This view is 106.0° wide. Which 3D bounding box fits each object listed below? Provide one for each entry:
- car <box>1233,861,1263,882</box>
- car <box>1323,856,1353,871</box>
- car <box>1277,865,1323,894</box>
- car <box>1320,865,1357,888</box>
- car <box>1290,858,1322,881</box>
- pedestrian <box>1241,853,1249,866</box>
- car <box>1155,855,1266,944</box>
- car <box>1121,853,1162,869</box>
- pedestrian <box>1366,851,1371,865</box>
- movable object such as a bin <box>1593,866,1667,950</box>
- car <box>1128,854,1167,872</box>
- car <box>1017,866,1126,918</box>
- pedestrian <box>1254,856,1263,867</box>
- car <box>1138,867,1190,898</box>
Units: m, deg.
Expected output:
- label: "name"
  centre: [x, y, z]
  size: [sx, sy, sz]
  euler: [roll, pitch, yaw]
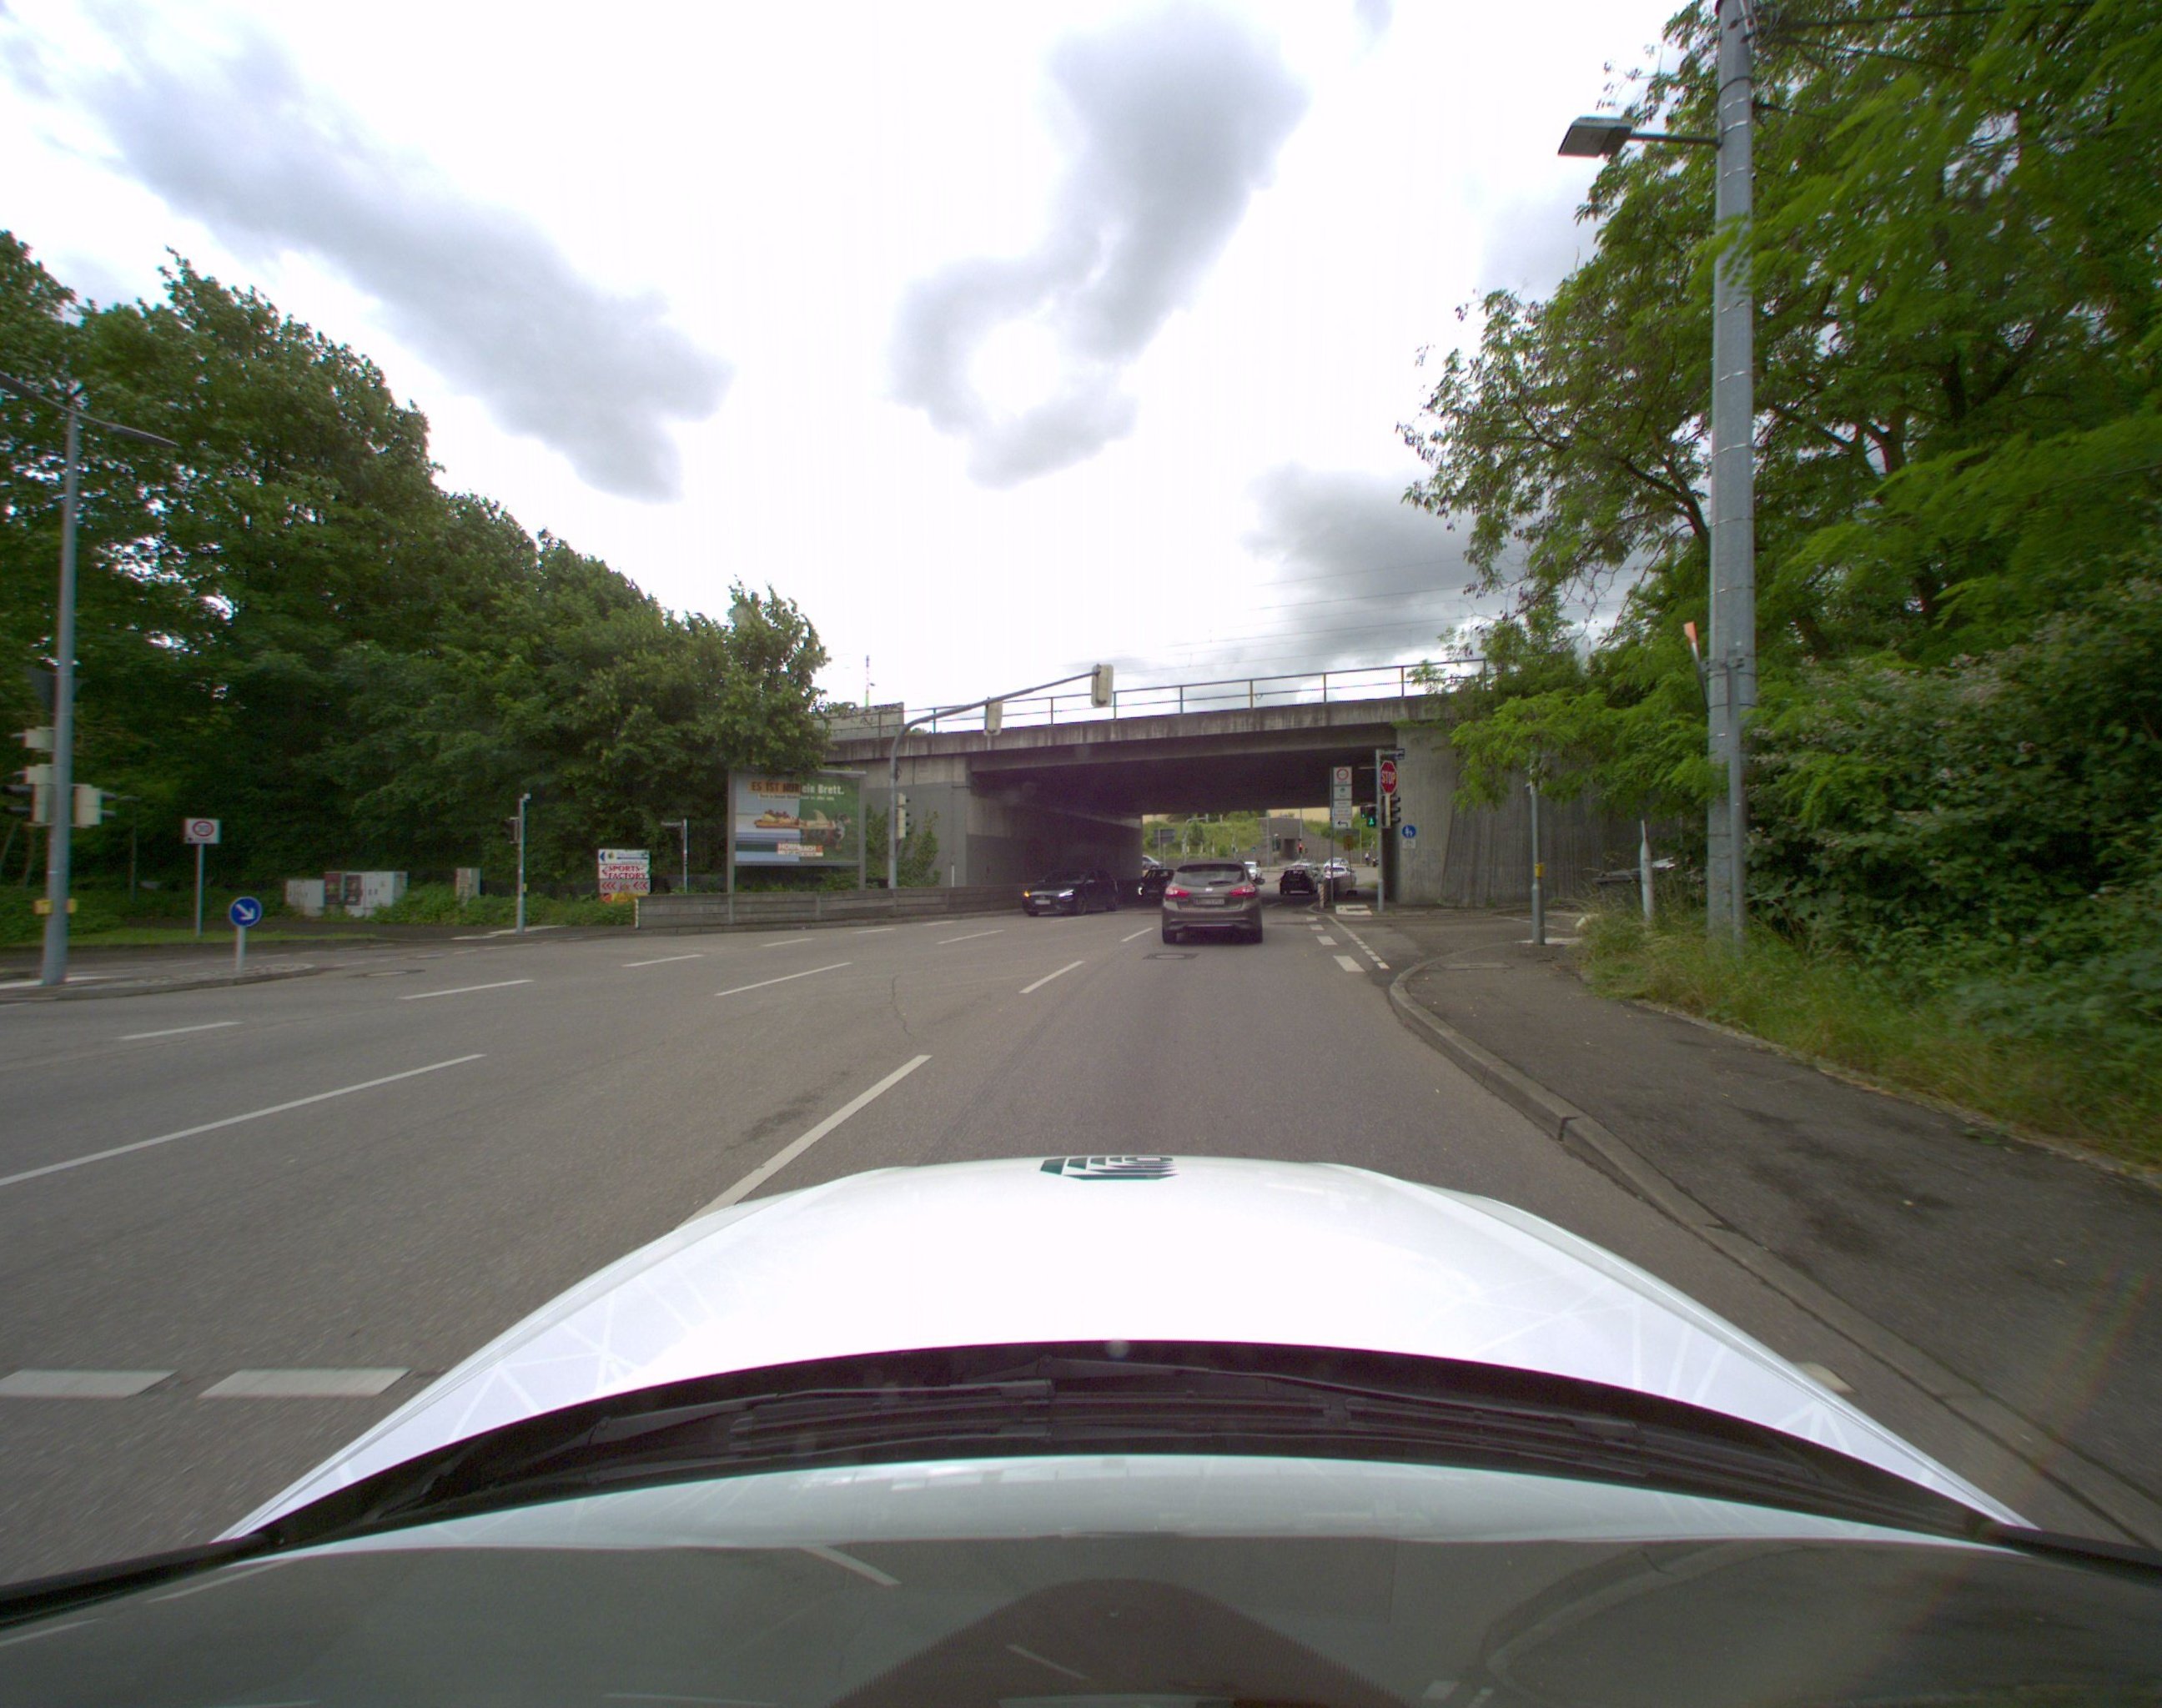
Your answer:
- label: "car"
  centre: [13.449, 1.412, 65.397]
  size: [1.768, 1.660, 4.128]
  euler: [-1, -1, 20]
- label: "car"
  centre: [29.229, 1.078, 92.740]
  size: [1.974, 1.640, 4.025]
  euler: [-1, -1, 38]
- label: "car"
  centre: [12.107, 1.364, 44.858]
  size: [1.883, 1.466, 4.021]
  euler: [0, -1, 23]
- label: "car"
  centre: [19.198, 1.650, 60.546]
  size: [1.975, 1.618, 4.024]
  euler: [-1, -1, 27]
- label: "car"
  centre: [17.526, 1.171, 63.253]
  size: [1.813, 1.706, 3.890]
  euler: [0, 0, 24]
- label: "pedestrian"
  centre: [20.144, 0.630, 99.802]
  size: [0.946, 1.613, 0.701]
  euler: [0, 0, 10]
- label: "car"
  centre: [2.567, 0.804, 15.750]
  size: [1.833, 1.493, 4.012]
  euler: [0, -1, 11]
- label: "car"
  centre: [6.537, 0.751, 87.698]
  size: [3.951, 1.596, 1.882]
  euler: [0, 0, 24]
- label: "pedestrian"
  centre: [37.800, 0.539, 106.996]
  size: [0.599, 1.863, 0.599]
  euler: [0, -1, 14]
- label: "movable object such as a bin"
  centre: [7.581, 0.724, 11.251]
  size: [0.577, 1.115, 0.638]
  euler: [0, -1, -29]
- label: "car"
  centre: [7.523, 1.002, 92.114]
  size: [3.956, 1.948, 2.009]
  euler: [-1, -1, 17]
- label: "car"
  centre: [-0.203, 1.130, 25.659]
  size: [1.800, 1.477, 4.160]
  euler: [0, -1, 25]
- label: "pedestrian"
  centre: [20.609, 0.835, 94.623]
  size: [0.904, 1.224, 0.731]
  euler: [3, 1, 11]
- label: "car"
  centre: [4.043, 1.354, 39.088]
  size: [1.710, 1.410, 4.017]
  euler: [-1, -2, 17]
